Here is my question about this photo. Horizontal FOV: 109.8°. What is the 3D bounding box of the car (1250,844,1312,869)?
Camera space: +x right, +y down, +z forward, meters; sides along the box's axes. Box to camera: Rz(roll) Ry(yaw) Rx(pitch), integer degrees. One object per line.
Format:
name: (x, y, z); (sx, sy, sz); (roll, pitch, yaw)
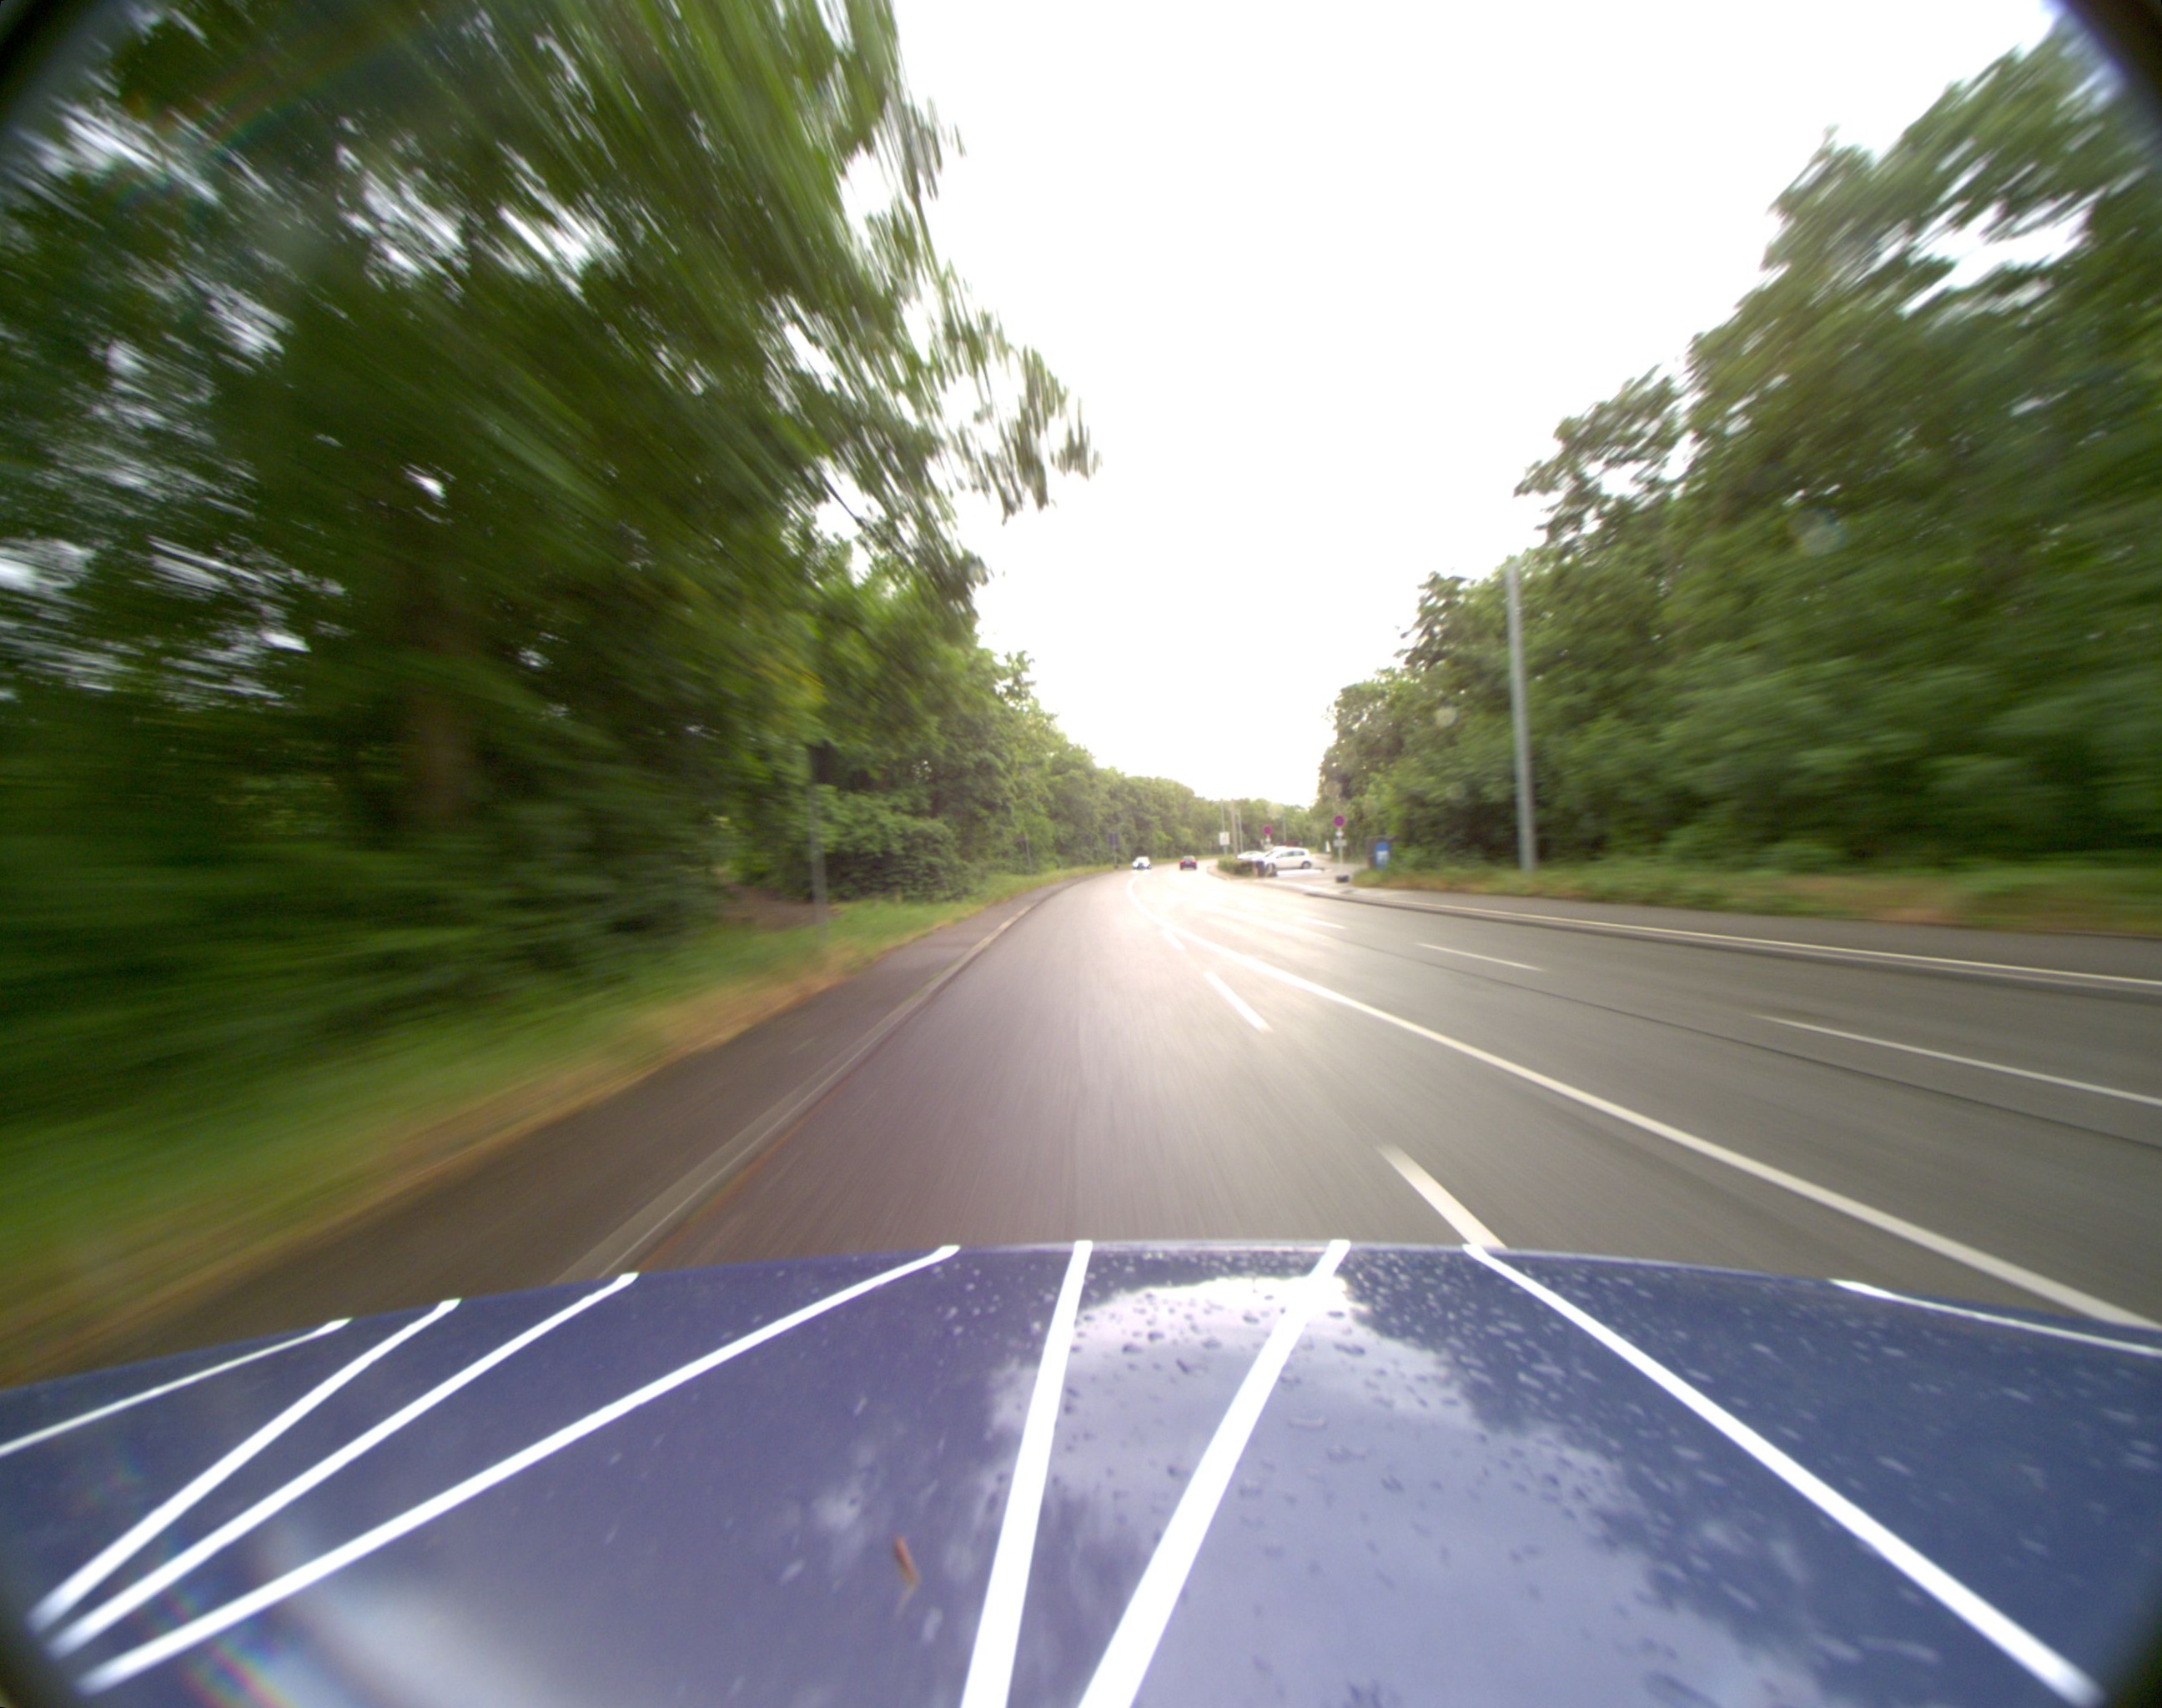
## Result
car: (15.394, 0.175, 58.697); (4.378, 1.592, 1.757); (-4, 1, 7)

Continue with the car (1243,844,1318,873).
car: (13.894, 0.295, 53.174); (4.751, 1.707, 1.895); (-4, 1, 5)

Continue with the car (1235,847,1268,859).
car: (23.427, -0.169, 104.458); (4.205, 1.475, 1.908); (-2, 0, 6)

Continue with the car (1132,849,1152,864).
car: (6.952, 0.305, 86.802); (1.997, 1.577, 4.002); (-2, 1, 8)

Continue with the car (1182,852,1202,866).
car: (12.084, 0.565, 82.601); (1.855, 1.464, 3.916); (-1, 0, 12)
